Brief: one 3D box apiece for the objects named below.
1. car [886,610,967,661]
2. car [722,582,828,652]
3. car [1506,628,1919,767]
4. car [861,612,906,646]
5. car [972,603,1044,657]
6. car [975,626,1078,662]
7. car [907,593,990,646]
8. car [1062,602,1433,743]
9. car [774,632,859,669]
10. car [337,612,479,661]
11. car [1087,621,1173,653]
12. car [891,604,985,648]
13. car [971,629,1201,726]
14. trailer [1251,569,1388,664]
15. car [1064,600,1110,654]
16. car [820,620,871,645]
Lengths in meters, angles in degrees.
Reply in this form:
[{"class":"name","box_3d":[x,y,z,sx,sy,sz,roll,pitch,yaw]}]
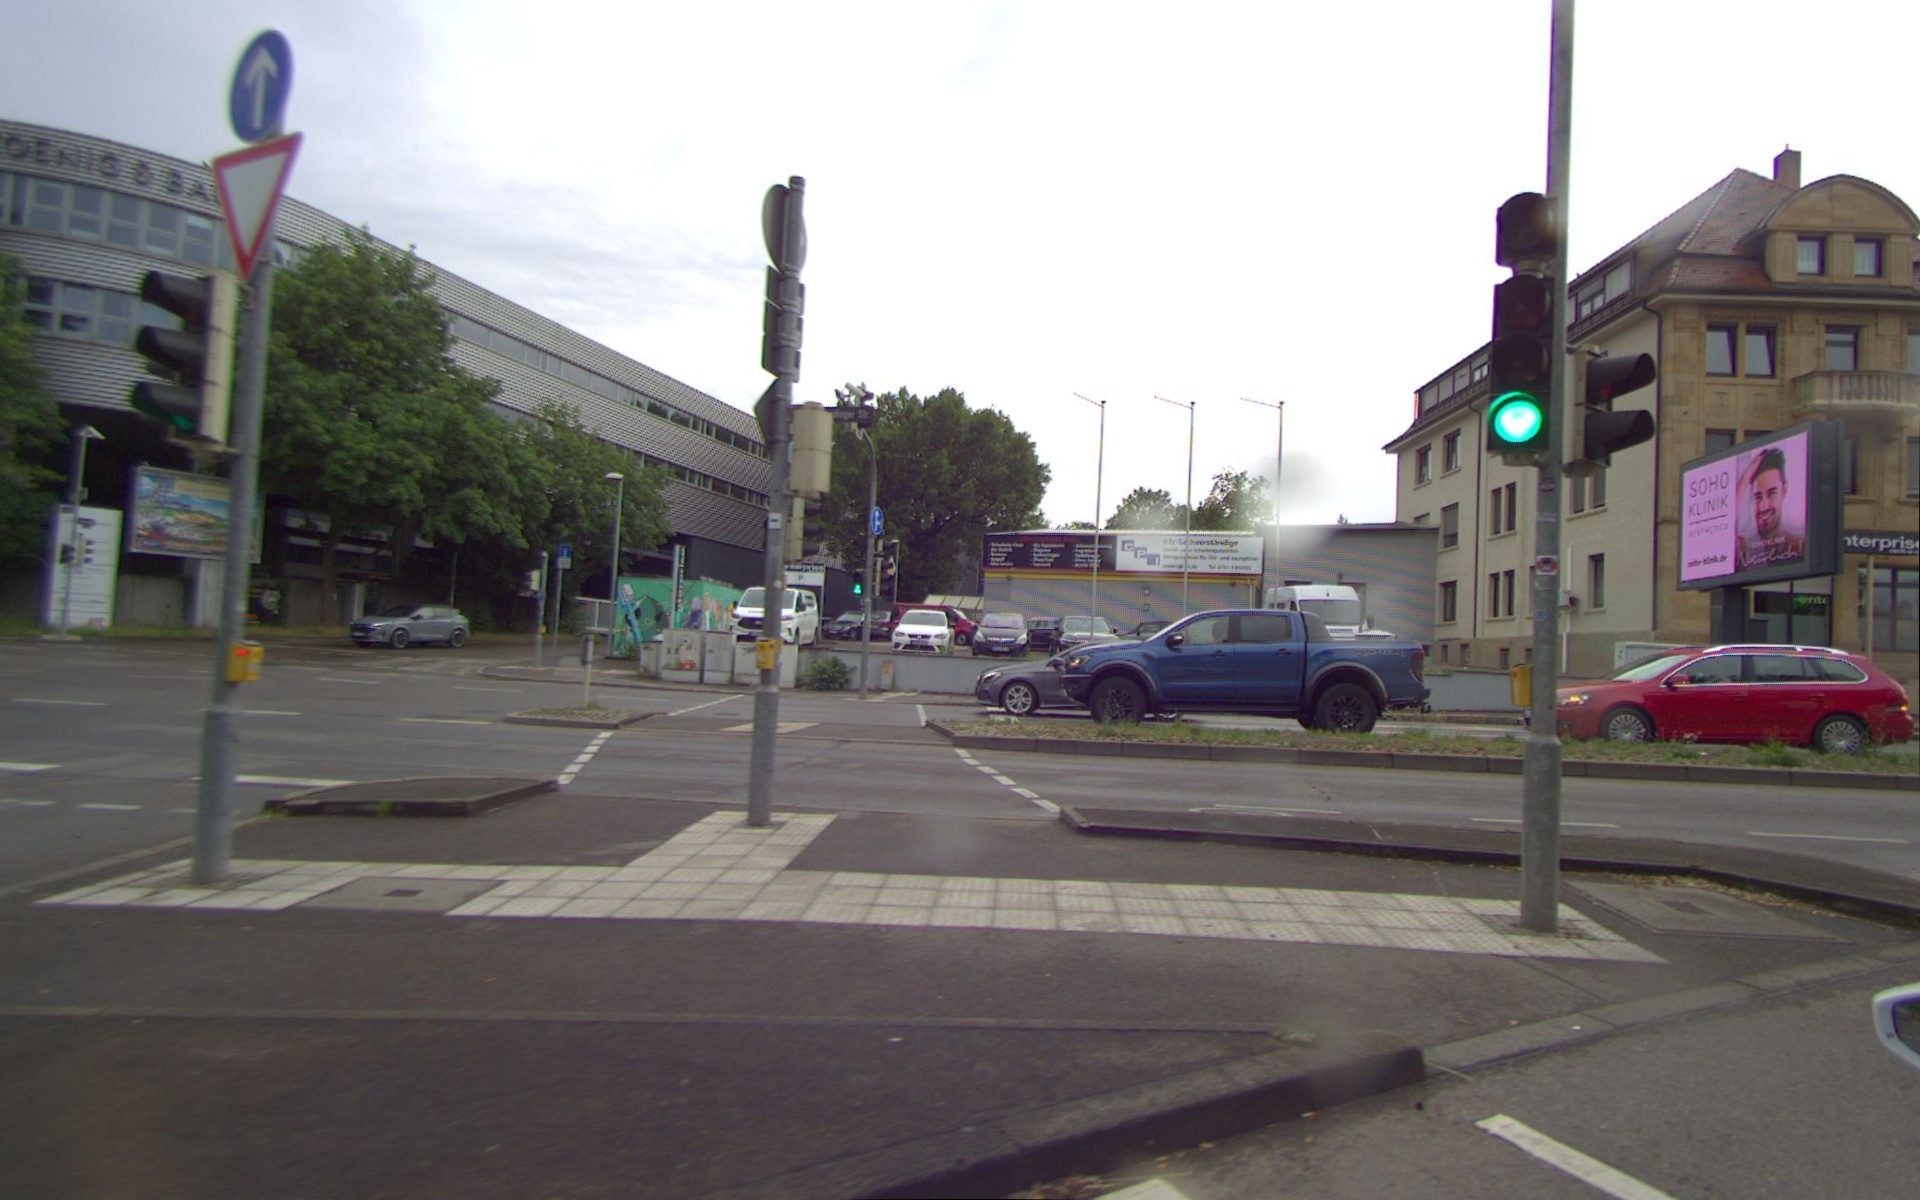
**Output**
[{"class":"car","box_3d":[-0.958,1.057,30.860,1.835,1.387,3.625,2,-1,8]},{"class":"car","box_3d":[-5.657,0.618,31.457,2.176,1.825,5.375,3,-3,1]},{"class":"car","box_3d":[10.328,1.319,14.026,4.351,1.550,1.814,3,-3,7]},{"class":"car","box_3d":[-4.049,1.562,53.707,1.485,1.587,3.490,3,-3,11]},{"class":"car","box_3d":[1.455,0.849,29.209,1.706,1.387,3.625,2,-1,8]},{"class":"car","box_3d":[2.923,1.921,43.955,4.255,1.424,1.374,0,-4,19]},{"class":"car","box_3d":[-0.594,1.049,52.735,3.906,2.530,1.655,2,-3,15]},{"class":"car","box_3d":[4.140,1.064,15.156,5.065,1.842,1.942,1,-3,8]},{"class":"car","box_3d":[-6.057,2.148,42.582,3.230,1.338,1.576,3,-3,6]},{"class":"car","box_3d":[-20.443,1.328,37.432,1.994,1.621,4.382,2,-1,20]},{"class":"car","box_3d":[7.164,1.560,42.257,3.347,1.122,1.324,2,-3,22]},{"class":"car","box_3d":[-1.060,1.281,49.352,4.223,1.884,1.742,2,-3,14]},{"class":"car","box_3d":[2.301,1.401,18.529,3.988,1.477,1.549,3,-3,7]},{"class":"trailer","box_3d":[10.858,0.674,30.998,2.347,2.459,7.127,3,-3,7]},{"class":"car","box_3d":[3.711,0.763,29.234,1.202,1.443,2.688,2,-1,8]},{"class":"car","box_3d":[-6.145,1.764,54.073,1.712,1.137,3.490,3,-3,11]}]
